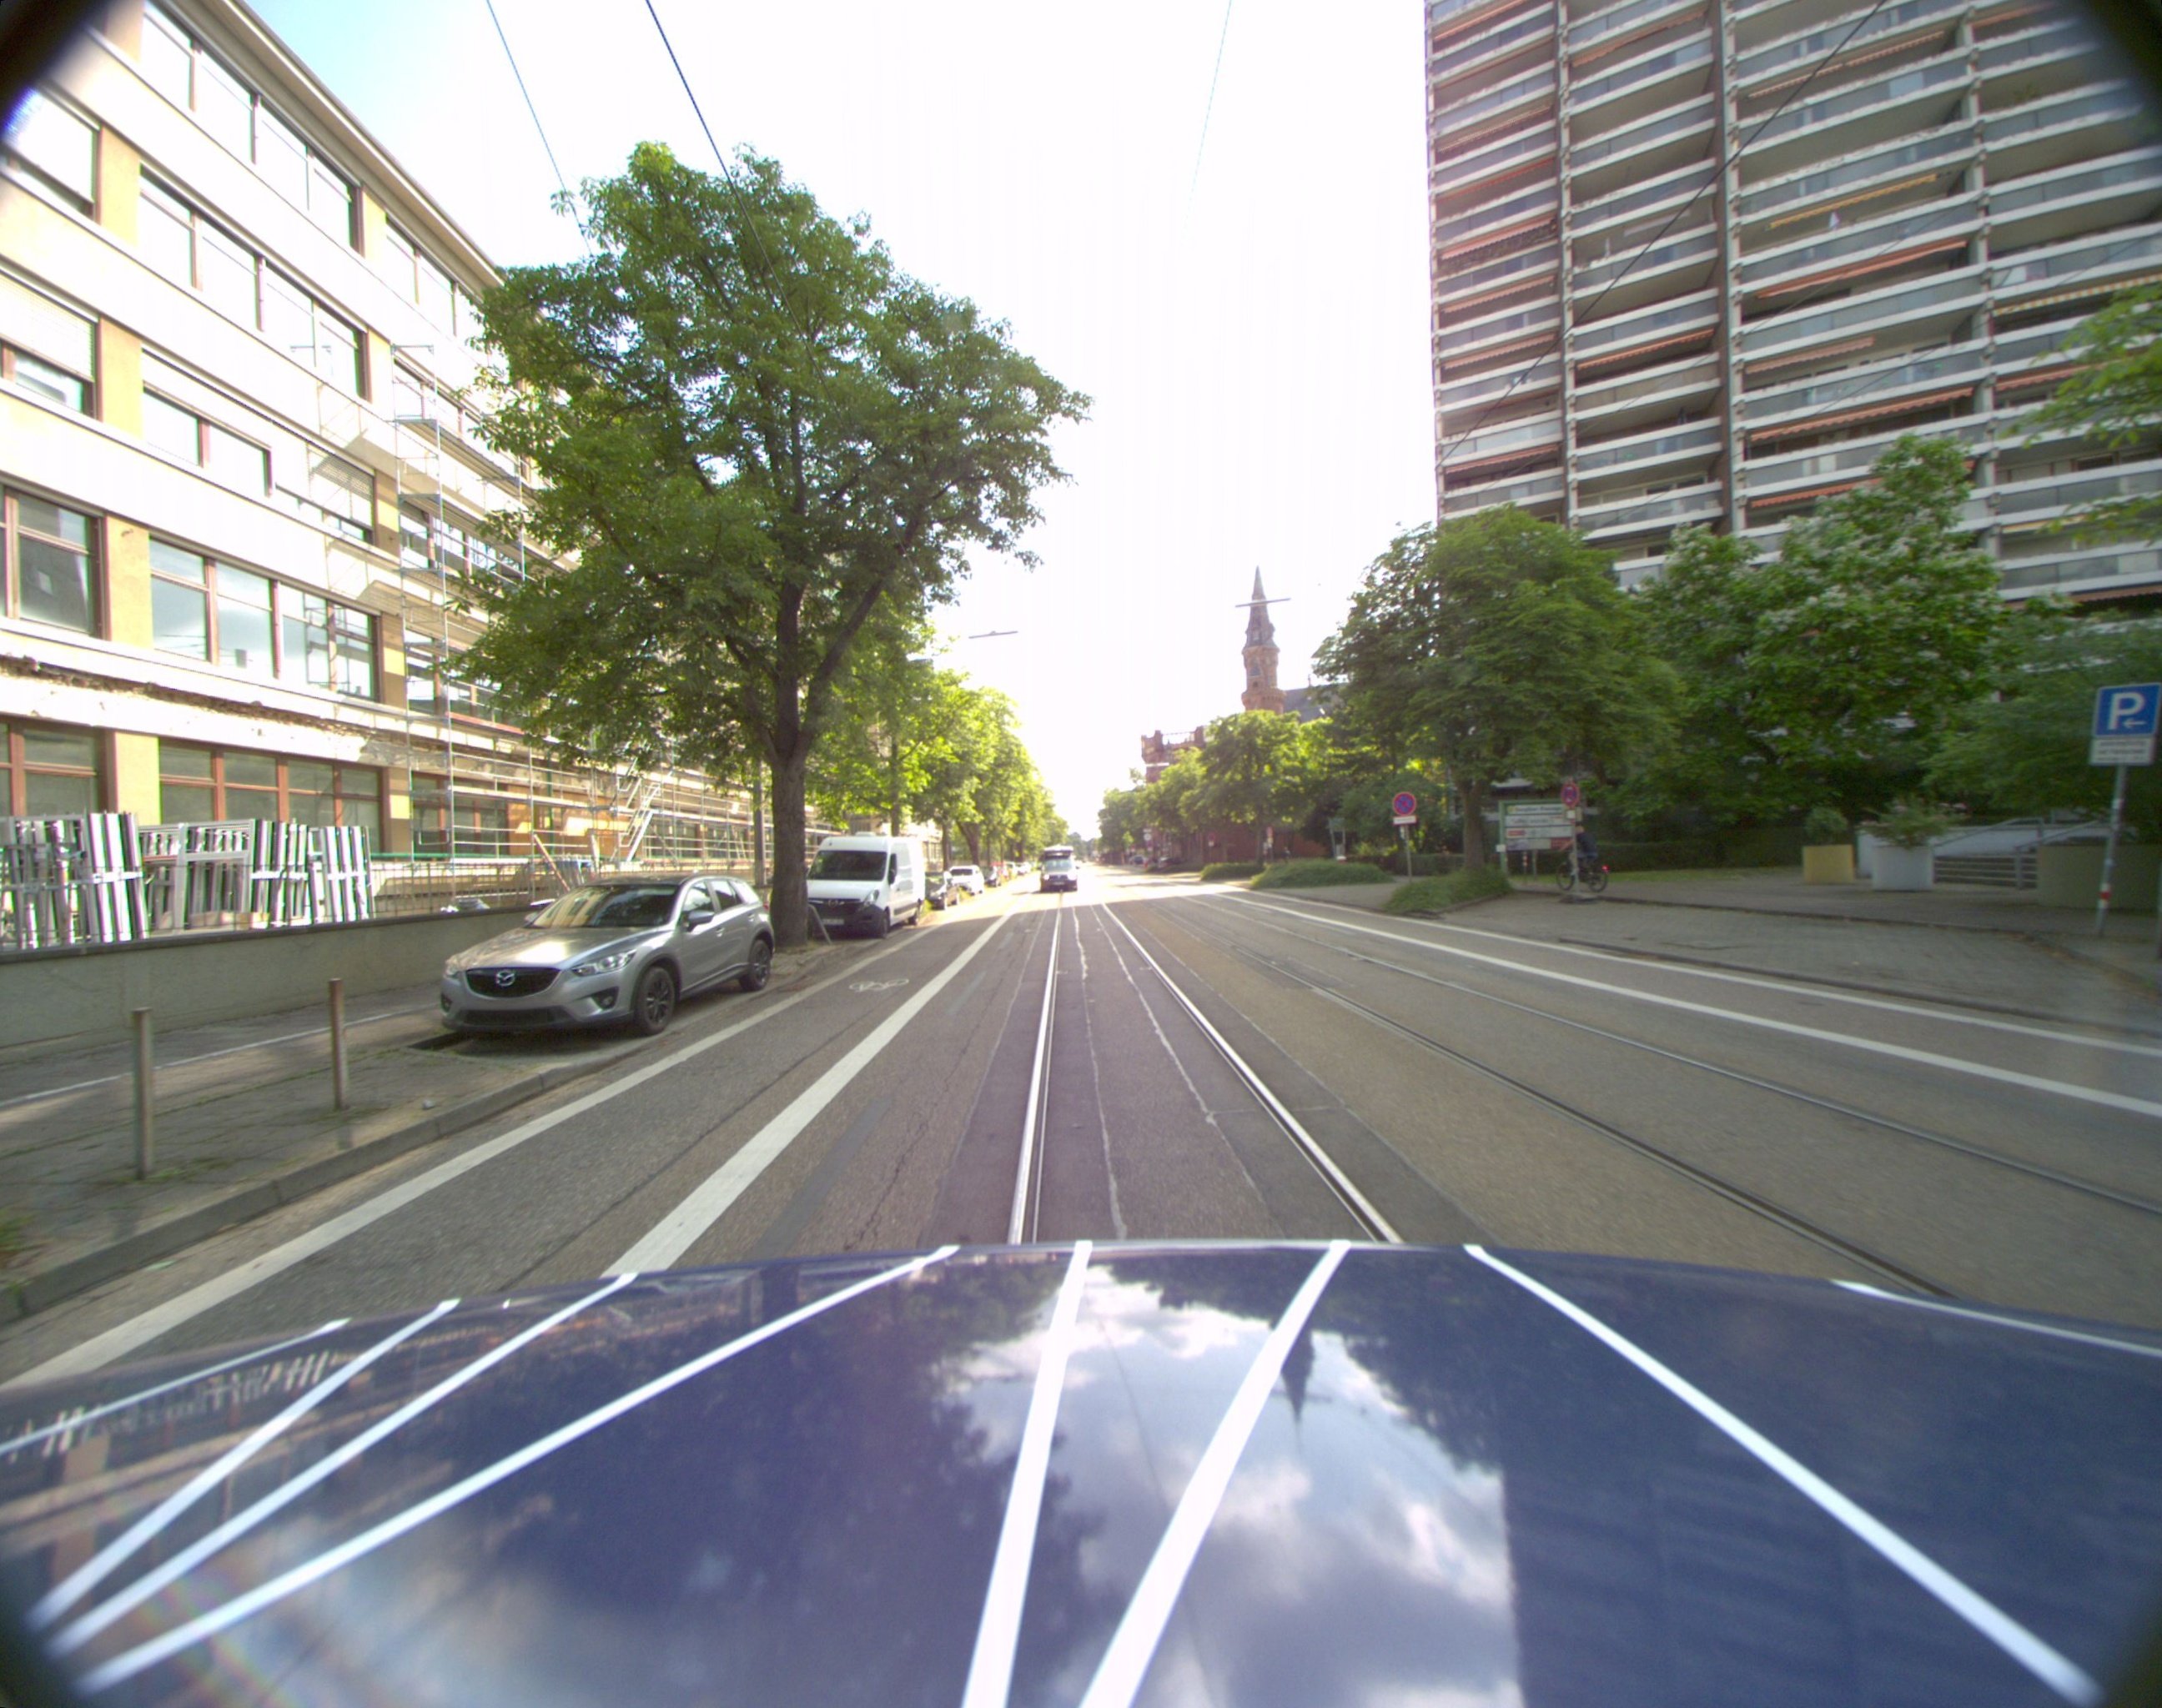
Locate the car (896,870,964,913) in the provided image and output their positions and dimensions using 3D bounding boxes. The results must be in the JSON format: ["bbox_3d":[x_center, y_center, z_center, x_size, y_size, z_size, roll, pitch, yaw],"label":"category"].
[{"bbox_3d":[-5.637,1.360,28.850,1.739,1.364,4.507,2,0,-1],"label":"car"}]

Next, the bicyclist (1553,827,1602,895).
[{"bbox_3d":[13.128,0.185,20.109,0.725,1.730,0.781,-2,1,-1],"label":"bicyclist"}]

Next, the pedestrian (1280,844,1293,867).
[{"bbox_3d":[15.169,0.121,56.078,0.765,1.620,0.738,-2,1,8],"label":"pedestrian"}]

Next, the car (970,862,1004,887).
[{"bbox_3d":[-5.987,1.293,48.667,1.737,1.390,3.630,-2,0,-1],"label":"car"}]

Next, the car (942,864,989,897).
[{"bbox_3d":[-5.783,1.298,38.561,1.568,1.448,3.896,-2,0,3],"label":"car"}]

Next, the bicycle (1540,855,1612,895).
[{"bbox_3d":[13.107,0.534,20.195,0.568,0.974,1.983,-2,0,-1],"label":"bicycle"}]

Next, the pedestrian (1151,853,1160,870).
[{"bbox_3d":[8.641,0.848,88.520,0.905,2.002,1.057,-2,1,-1],"label":"pedestrian"}]

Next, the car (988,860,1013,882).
[{"bbox_3d":[-6.285,1.292,59.576,1.532,1.565,3.647,-2,0,-1],"label":"car"}]

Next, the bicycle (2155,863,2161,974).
[{"bbox_3d":[11.618,0.659,7.229,1.504,1.148,0.634,-1,1,42],"label":"bicycle"}]

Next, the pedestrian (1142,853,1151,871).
[{"bbox_3d":[7.646,0.898,88.442,0.905,2.002,1.057,-2,1,2],"label":"pedestrian"}]

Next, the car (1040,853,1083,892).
[{"bbox_3d":[-0.979,0.851,37.517,1.946,1.763,4.836,-2,0,-2],"label":"car"}]

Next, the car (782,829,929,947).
[{"bbox_3d":[-5.525,0.731,19.593,2.128,2.552,5.918,1,0,-1],"label":"car"}]

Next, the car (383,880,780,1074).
[{"bbox_3d":[-5.263,1.151,8.901,1.770,1.597,4.458,0,-1,-1],"label":"car"}]
